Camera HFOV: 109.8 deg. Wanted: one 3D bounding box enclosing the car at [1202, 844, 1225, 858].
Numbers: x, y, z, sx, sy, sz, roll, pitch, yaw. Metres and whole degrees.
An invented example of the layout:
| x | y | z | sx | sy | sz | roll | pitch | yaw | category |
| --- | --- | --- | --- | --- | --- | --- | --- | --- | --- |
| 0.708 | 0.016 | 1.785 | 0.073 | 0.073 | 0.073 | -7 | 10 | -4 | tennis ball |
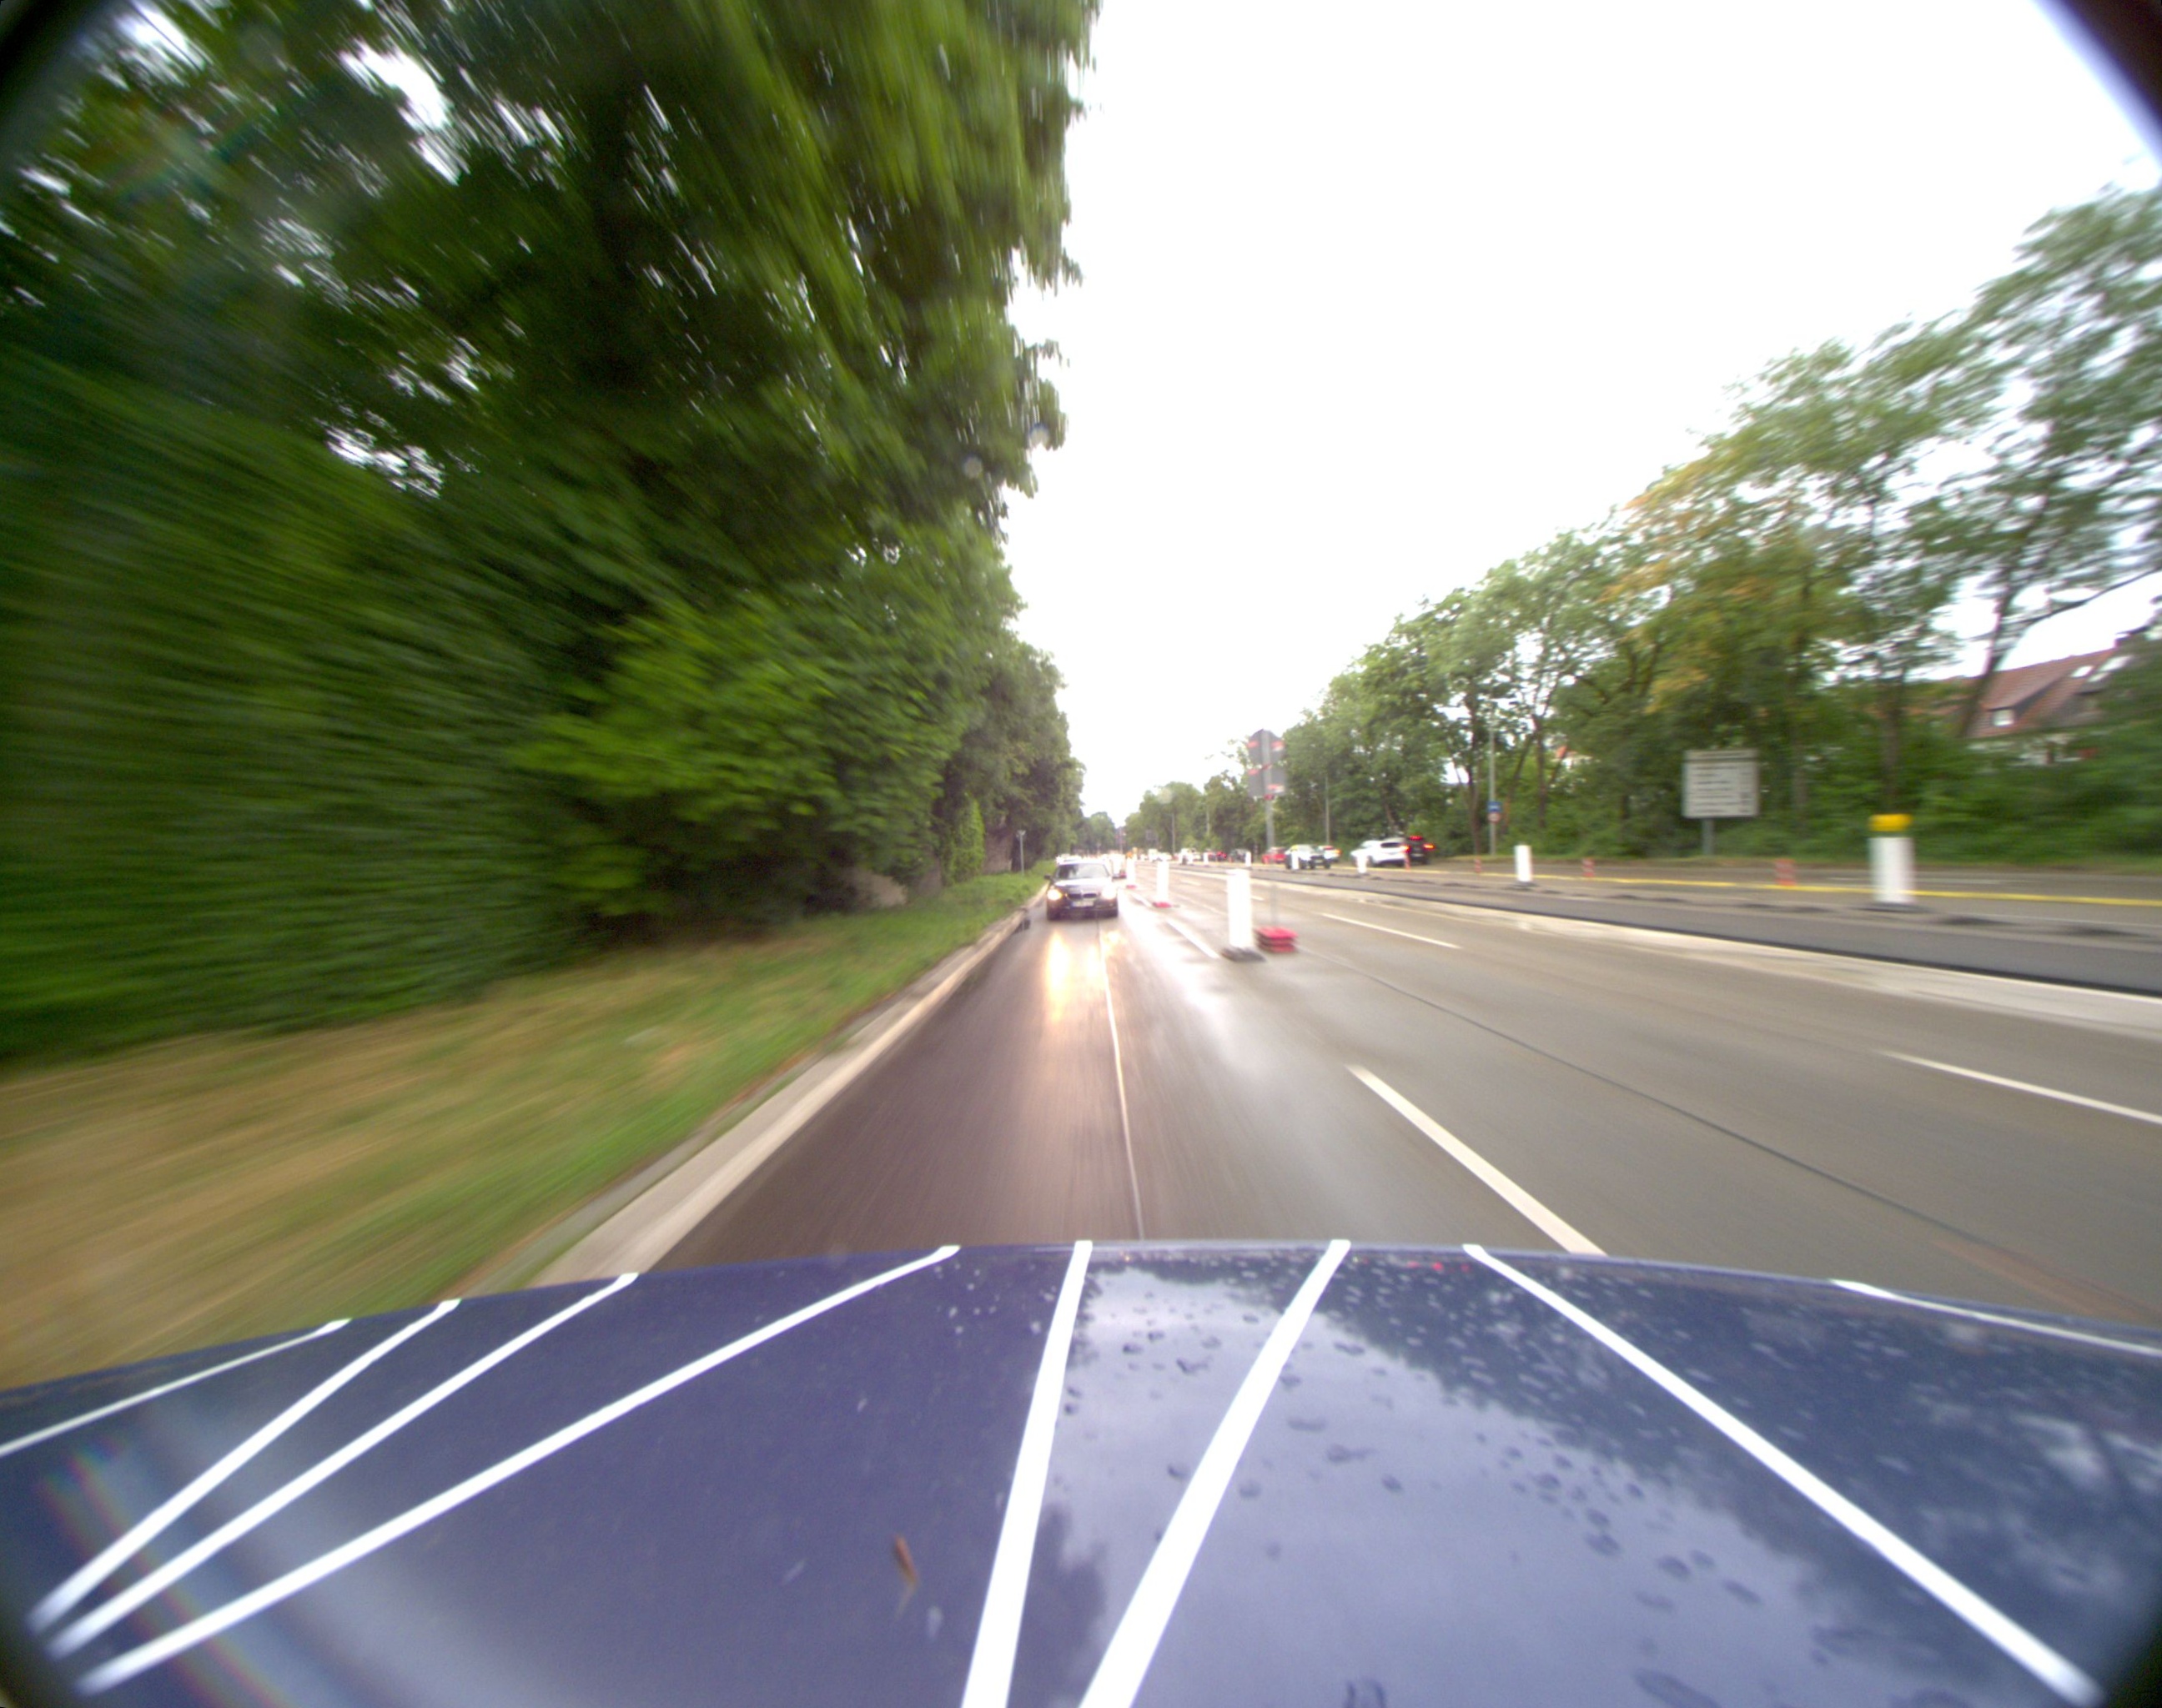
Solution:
| x | y | z | sx | sy | sz | roll | pitch | yaw | category |
| --- | --- | --- | --- | --- | --- | --- | --- | --- | --- |
| 17.432 | -0.394 | 100.049 | 2.026 | 1.715 | 5.012 | -3 | 0 | 0 | car |

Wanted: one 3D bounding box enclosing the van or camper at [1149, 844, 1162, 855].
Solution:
| x | y | z | sx | sy | sz | roll | pitch | yaw | category |
| --- | --- | --- | --- | --- | --- | --- | --- | --- | --- |
| 17.715 | -1.017 | 181.532 | 1.999 | 2.540 | 7.728 | -3 | 0 | -1 | van or camper |

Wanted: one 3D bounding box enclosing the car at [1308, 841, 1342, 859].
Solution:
| x | y | z | sx | sy | sz | roll | pitch | yaw | category |
| --- | --- | --- | --- | --- | --- | --- | --- | --- | --- |
| 21.201 | -0.343 | 66.195 | 1.683 | 1.487 | 4.148 | 0 | 0 | 0 | car |

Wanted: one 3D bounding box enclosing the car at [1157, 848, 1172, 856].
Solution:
| x | y | z | sx | sy | sz | roll | pitch | yaw | category |
| --- | --- | --- | --- | --- | --- | --- | --- | --- | --- |
| 15.316 | -0.333 | 139.323 | 1.999 | 1.408 | 4.390 | -1 | 1 | -5 | car |

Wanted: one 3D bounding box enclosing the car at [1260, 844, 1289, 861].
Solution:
| x | y | z | sx | sy | sz | roll | pitch | yaw | category |
| --- | --- | --- | --- | --- | --- | --- | --- | --- | --- |
| 17.966 | -0.150 | 70.752 | 1.683 | 1.392 | 4.012 | -3 | 0 | 0 | car |

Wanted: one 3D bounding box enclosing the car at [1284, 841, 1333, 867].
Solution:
| x | y | z | sx | sy | sz | roll | pitch | yaw | category |
| --- | --- | --- | --- | --- | --- | --- | --- | --- | --- |
| 15.389 | -0.038 | 51.643 | 1.998 | 1.619 | 4.812 | -2 | 0 | 1 | car |

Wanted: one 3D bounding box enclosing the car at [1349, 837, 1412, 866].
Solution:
| x | y | z | sx | sy | sz | roll | pitch | yaw | category |
| --- | --- | --- | --- | --- | --- | --- | --- | --- | --- |
| 18.695 | -0.179 | 47.667 | 1.895 | 1.651 | 4.893 | -3 | 0 | 0 | car |

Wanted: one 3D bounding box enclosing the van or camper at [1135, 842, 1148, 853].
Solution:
| x | y | z | sx | sy | sz | roll | pitch | yaw | category |
| --- | --- | --- | --- | --- | --- | --- | --- | --- | --- |
| 16.865 | -1.737 | 212.663 | 2.304 | 3.045 | 7.448 | -2 | 0 | -5 | van or camper |

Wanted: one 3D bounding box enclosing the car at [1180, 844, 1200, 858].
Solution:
| x | y | z | sx | sy | sz | roll | pitch | yaw | category |
| --- | --- | --- | --- | --- | --- | --- | --- | --- | --- |
| 16.695 | -0.411 | 116.545 | 1.999 | 1.960 | 4.901 | -3 | 0 | -3 | car |

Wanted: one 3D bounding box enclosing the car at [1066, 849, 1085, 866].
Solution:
| x | y | z | sx | sy | sz | roll | pitch | yaw | category |
| --- | --- | --- | --- | --- | --- | --- | --- | --- | --- |
| -0.614 | 0.382 | 82.841 | 1.998 | 1.707 | 4.000 | -1 | 1 | 0 | car |

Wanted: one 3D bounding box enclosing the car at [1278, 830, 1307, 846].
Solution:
| x | y | z | sx | sy | sz | roll | pitch | yaw | category |
| --- | --- | --- | --- | --- | --- | --- | --- | --- | --- |
| 22.860 | -1.710 | 82.328 | 1.707 | 1.617 | 4.418 | -3 | 0 | -1 | car |

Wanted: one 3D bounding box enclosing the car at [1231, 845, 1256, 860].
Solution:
| x | y | z | sx | sy | sz | roll | pitch | yaw | category |
| --- | --- | --- | --- | --- | --- | --- | --- | --- | --- |
| 17.948 | -0.157 | 83.909 | 1.781 | 1.479 | 4.196 | -3 | 0 | -1 | car |

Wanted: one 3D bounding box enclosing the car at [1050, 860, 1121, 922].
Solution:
| x | y | z | sx | sy | sz | roll | pitch | yaw | category |
| --- | --- | --- | --- | --- | --- | --- | --- | --- | --- |
| 0.032 | 0.886 | 19.763 | 1.658 | 1.409 | 4.128 | 0 | 0 | -2 | car |
